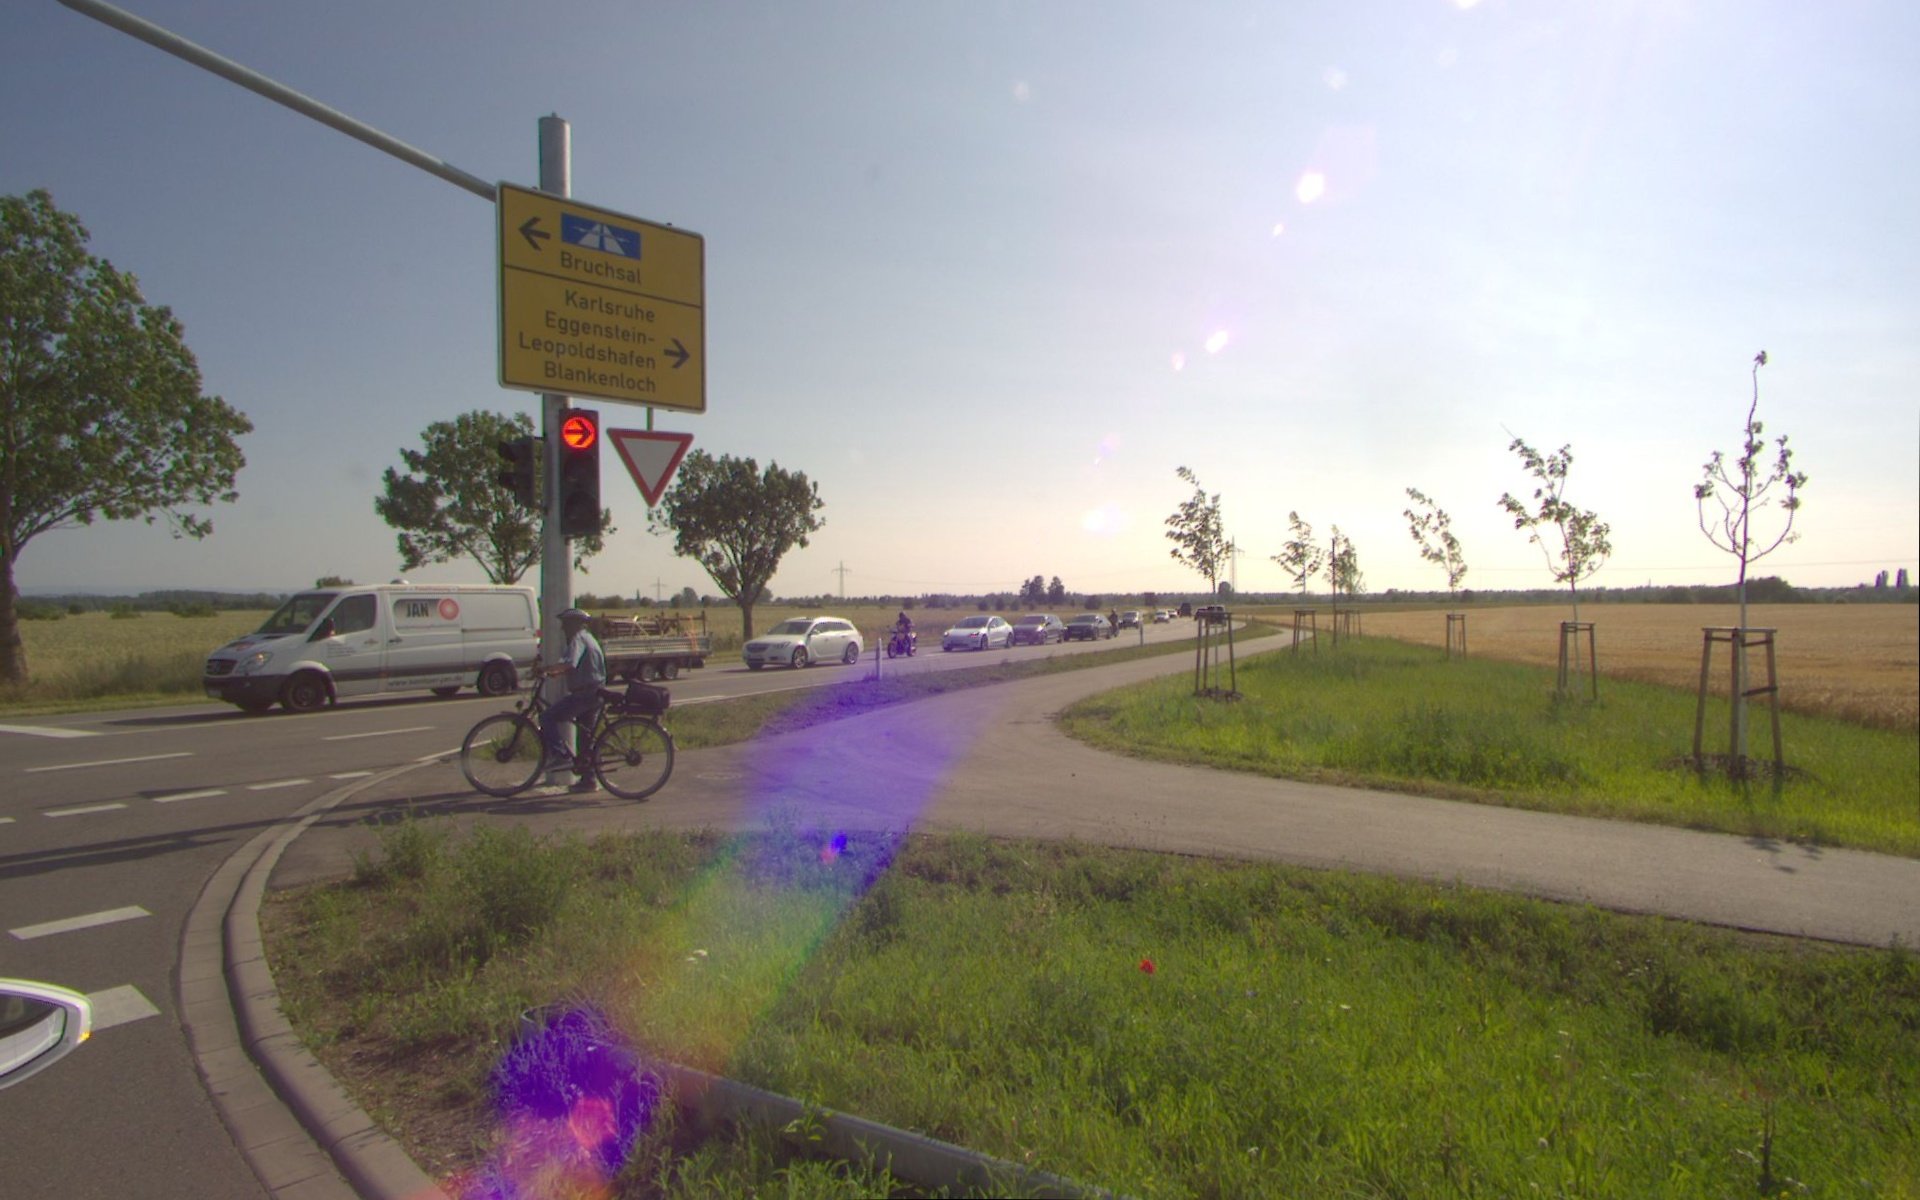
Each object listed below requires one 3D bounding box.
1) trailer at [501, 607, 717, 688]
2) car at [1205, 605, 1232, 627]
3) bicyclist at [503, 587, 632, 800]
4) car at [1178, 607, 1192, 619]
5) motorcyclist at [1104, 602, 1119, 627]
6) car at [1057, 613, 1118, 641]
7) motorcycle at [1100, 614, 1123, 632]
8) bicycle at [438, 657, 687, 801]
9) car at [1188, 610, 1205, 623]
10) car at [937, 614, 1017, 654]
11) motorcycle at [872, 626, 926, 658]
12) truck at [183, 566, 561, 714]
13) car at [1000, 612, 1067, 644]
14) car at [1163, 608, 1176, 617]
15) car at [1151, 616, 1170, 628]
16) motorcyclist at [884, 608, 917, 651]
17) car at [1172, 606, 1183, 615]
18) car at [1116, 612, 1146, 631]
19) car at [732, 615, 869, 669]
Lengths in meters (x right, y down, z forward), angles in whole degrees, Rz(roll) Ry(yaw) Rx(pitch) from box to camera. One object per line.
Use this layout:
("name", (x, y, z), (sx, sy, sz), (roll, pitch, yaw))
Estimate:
("trailer", (-8.402, 1.079, 24.521), (1.951, 1.760, 4.991), (-1, -1, 28))
("car", (22.644, 1.362, 87.542), (1.814, 1.857, 4.458), (0, -1, 21))
("bicyclist", (-3.436, 0.815, 8.839), (0.901, 1.787, 0.619), (3, -2, -13))
("car", (39.386, 2.308, 175.227), (2.022, 2.039, 4.001), (0, -2, 8))
("motorcyclist", (9.312, 0.914, 61.580), (0.669, 1.515, 0.844), (-1, 0, 25))
("car", (7.122, 1.483, 55.526), (1.866, 1.455, 4.778), (-1, -1, 27))
("motorcycle", (9.322, 1.407, 61.590), (0.859, 1.087, 1.962), (-1, -1, 25))
("bicycle", (-3.430, 1.126, 8.822), (1.910, 1.165, 0.681), (3, -2, -13))
("car", (30.917, 2.140, 130.870), (1.942, 1.703, 4.102), (-1, -1, 15))
("car", (0.798, 1.417, 42.894), (1.865, 1.486, 4.261), (1, 1, 25))
("motorcycle", (-2.202, 1.521, 36.677), (0.885, 1.057, 2.419), (-1, 0, 26))
("truck", (-11.135, 0.701, 19.644), (2.041, 2.436, 6.168), (-1, -1, 31))
("car", (3.665, 1.360, 49.151), (1.866, 1.480, 4.292), (-1, -1, 25))
("car", (33.337, 1.977, 159.163), (1.661, 1.421, 3.995), (-2, -1, 16))
("car", (23.796, 2.611, 118.756), (1.606, 1.394, 4.413), (-3, -2, 20))
("motorcyclist", (-2.176, 1.068, 36.734), (0.670, 1.535, 1.176), (-1, 0, 27))
("car", (46.982, 2.292, 216.464), (1.899, 1.822, 3.887), (0, -2, 8))
("car", (15.249, 1.910, 89.251), (1.858, 1.646, 3.992), (-3, -2, 20))
("car", (-4.808, 1.246, 30.918), (1.738, 1.511, 4.690), (-1, -1, 27))
